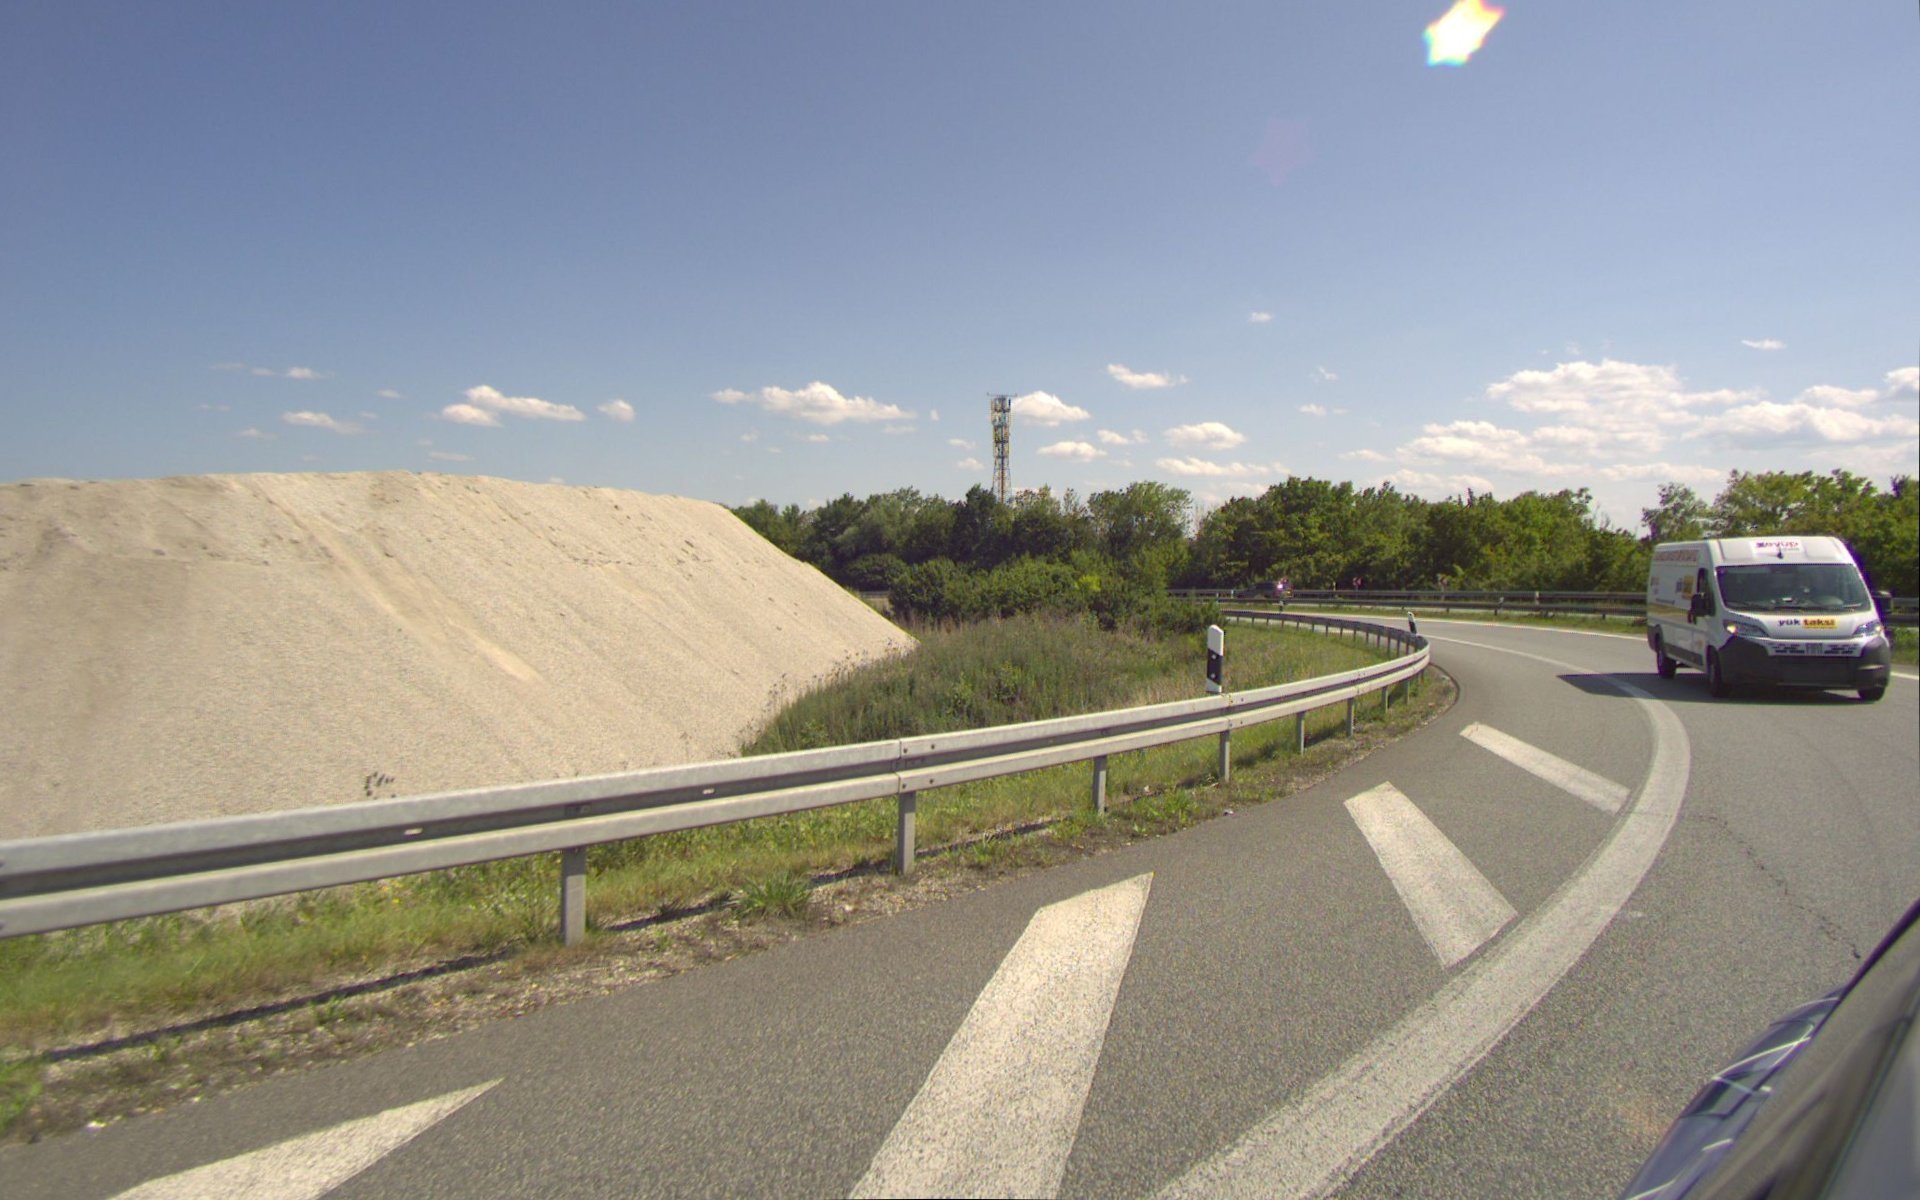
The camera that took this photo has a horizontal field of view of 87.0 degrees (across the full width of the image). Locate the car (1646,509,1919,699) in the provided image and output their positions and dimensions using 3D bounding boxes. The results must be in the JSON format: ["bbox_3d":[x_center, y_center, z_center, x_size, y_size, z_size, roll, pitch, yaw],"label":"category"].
[{"bbox_3d":[13.374,0.052,16.984,2.067,2.556,6.181,-4,-1,26],"label":"car"}]

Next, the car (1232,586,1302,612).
[{"bbox_3d":[22.331,-0.080,73.932,1.959,1.752,5.207,-2,1,-23],"label":"car"}]
